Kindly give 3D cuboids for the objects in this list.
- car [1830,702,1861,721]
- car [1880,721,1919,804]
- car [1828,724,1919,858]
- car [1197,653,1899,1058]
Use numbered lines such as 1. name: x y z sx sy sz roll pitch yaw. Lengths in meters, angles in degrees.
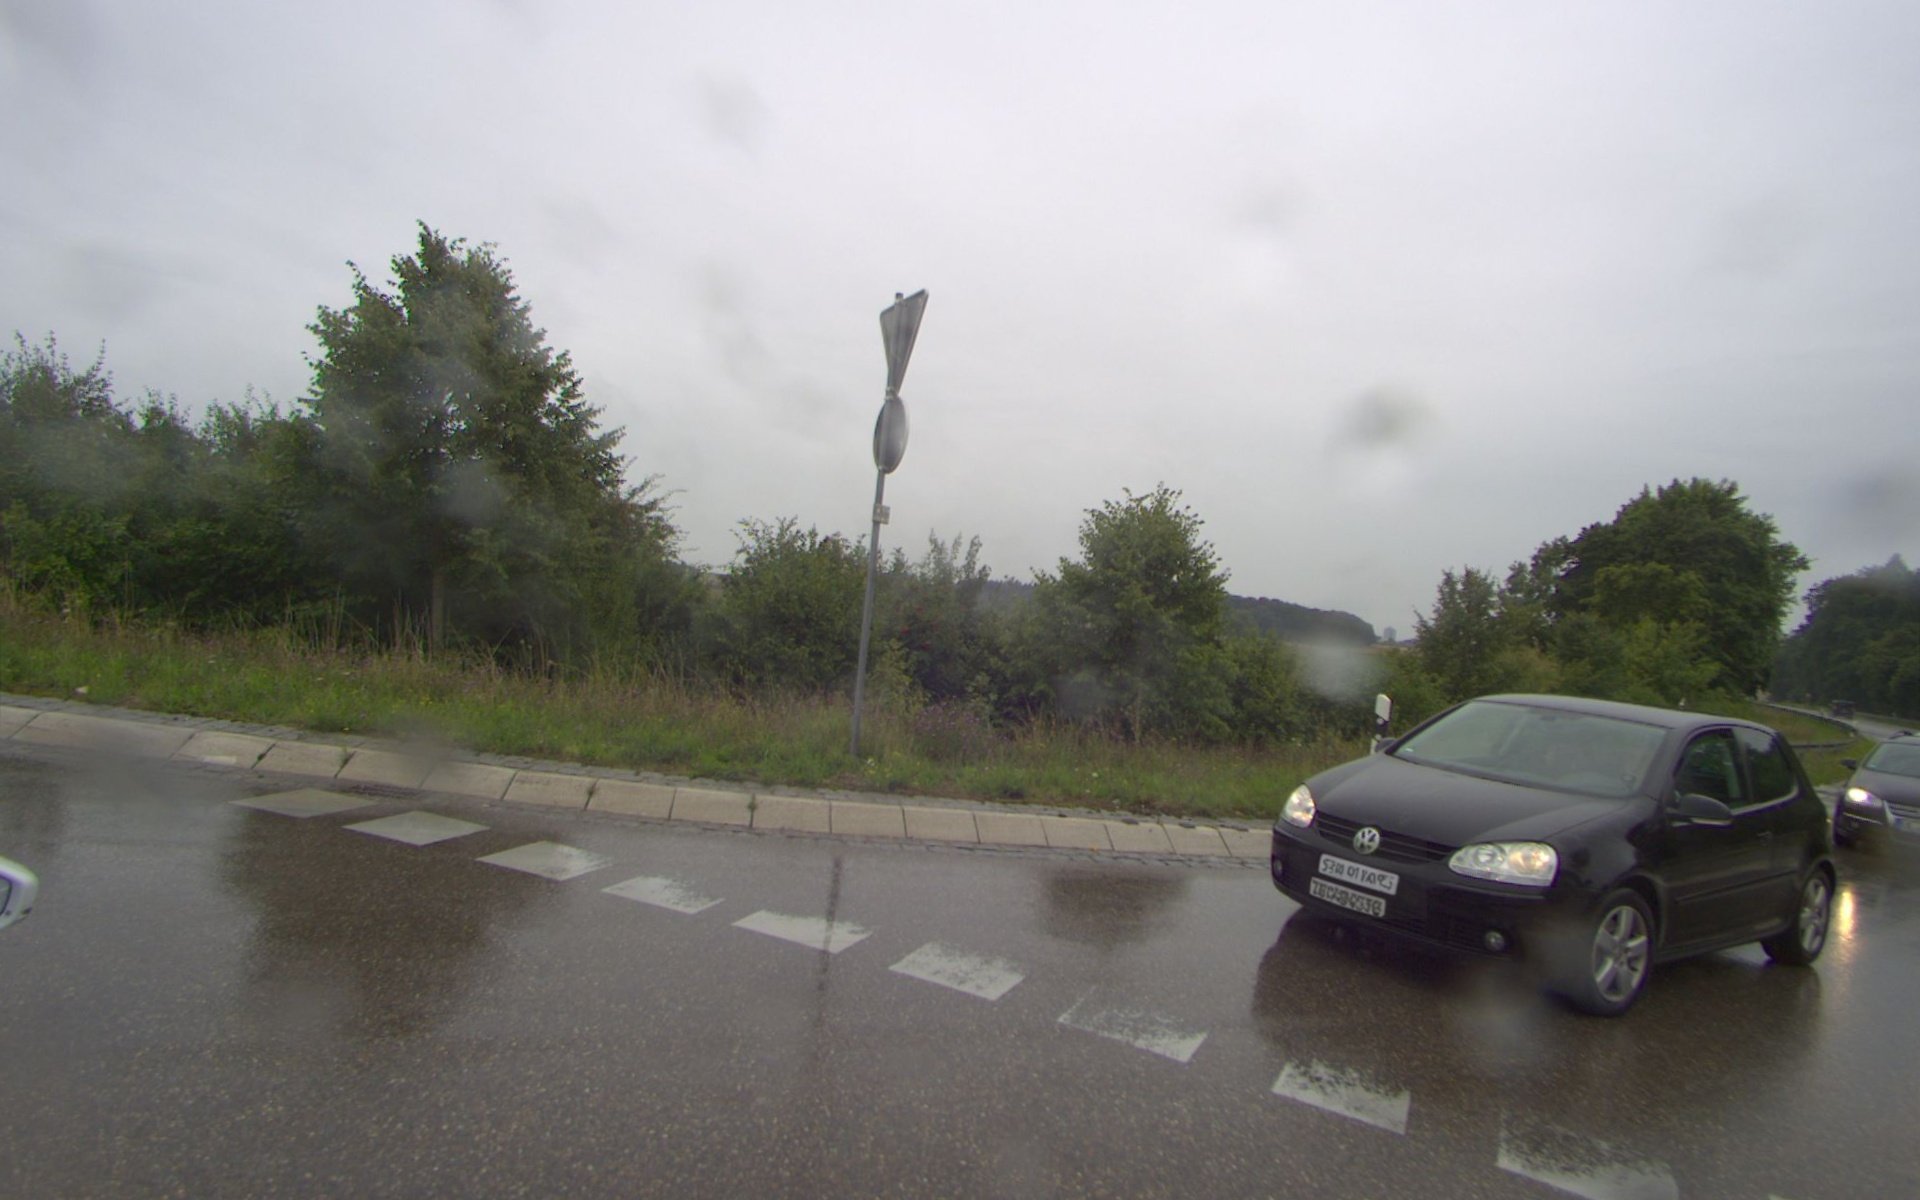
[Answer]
1. car: 100.090 12.559 113.758 1.968 1.596 3.985 7 2 34
2. car: 19.478 3.294 19.708 4.476 1.438 1.742 8 -1 -44
3. car: 12.621 2.477 12.683 4.475 1.388 1.926 8 -1 -42
4. car: 3.735 1.338 6.094 4.463 1.438 1.857 8 0 -35
